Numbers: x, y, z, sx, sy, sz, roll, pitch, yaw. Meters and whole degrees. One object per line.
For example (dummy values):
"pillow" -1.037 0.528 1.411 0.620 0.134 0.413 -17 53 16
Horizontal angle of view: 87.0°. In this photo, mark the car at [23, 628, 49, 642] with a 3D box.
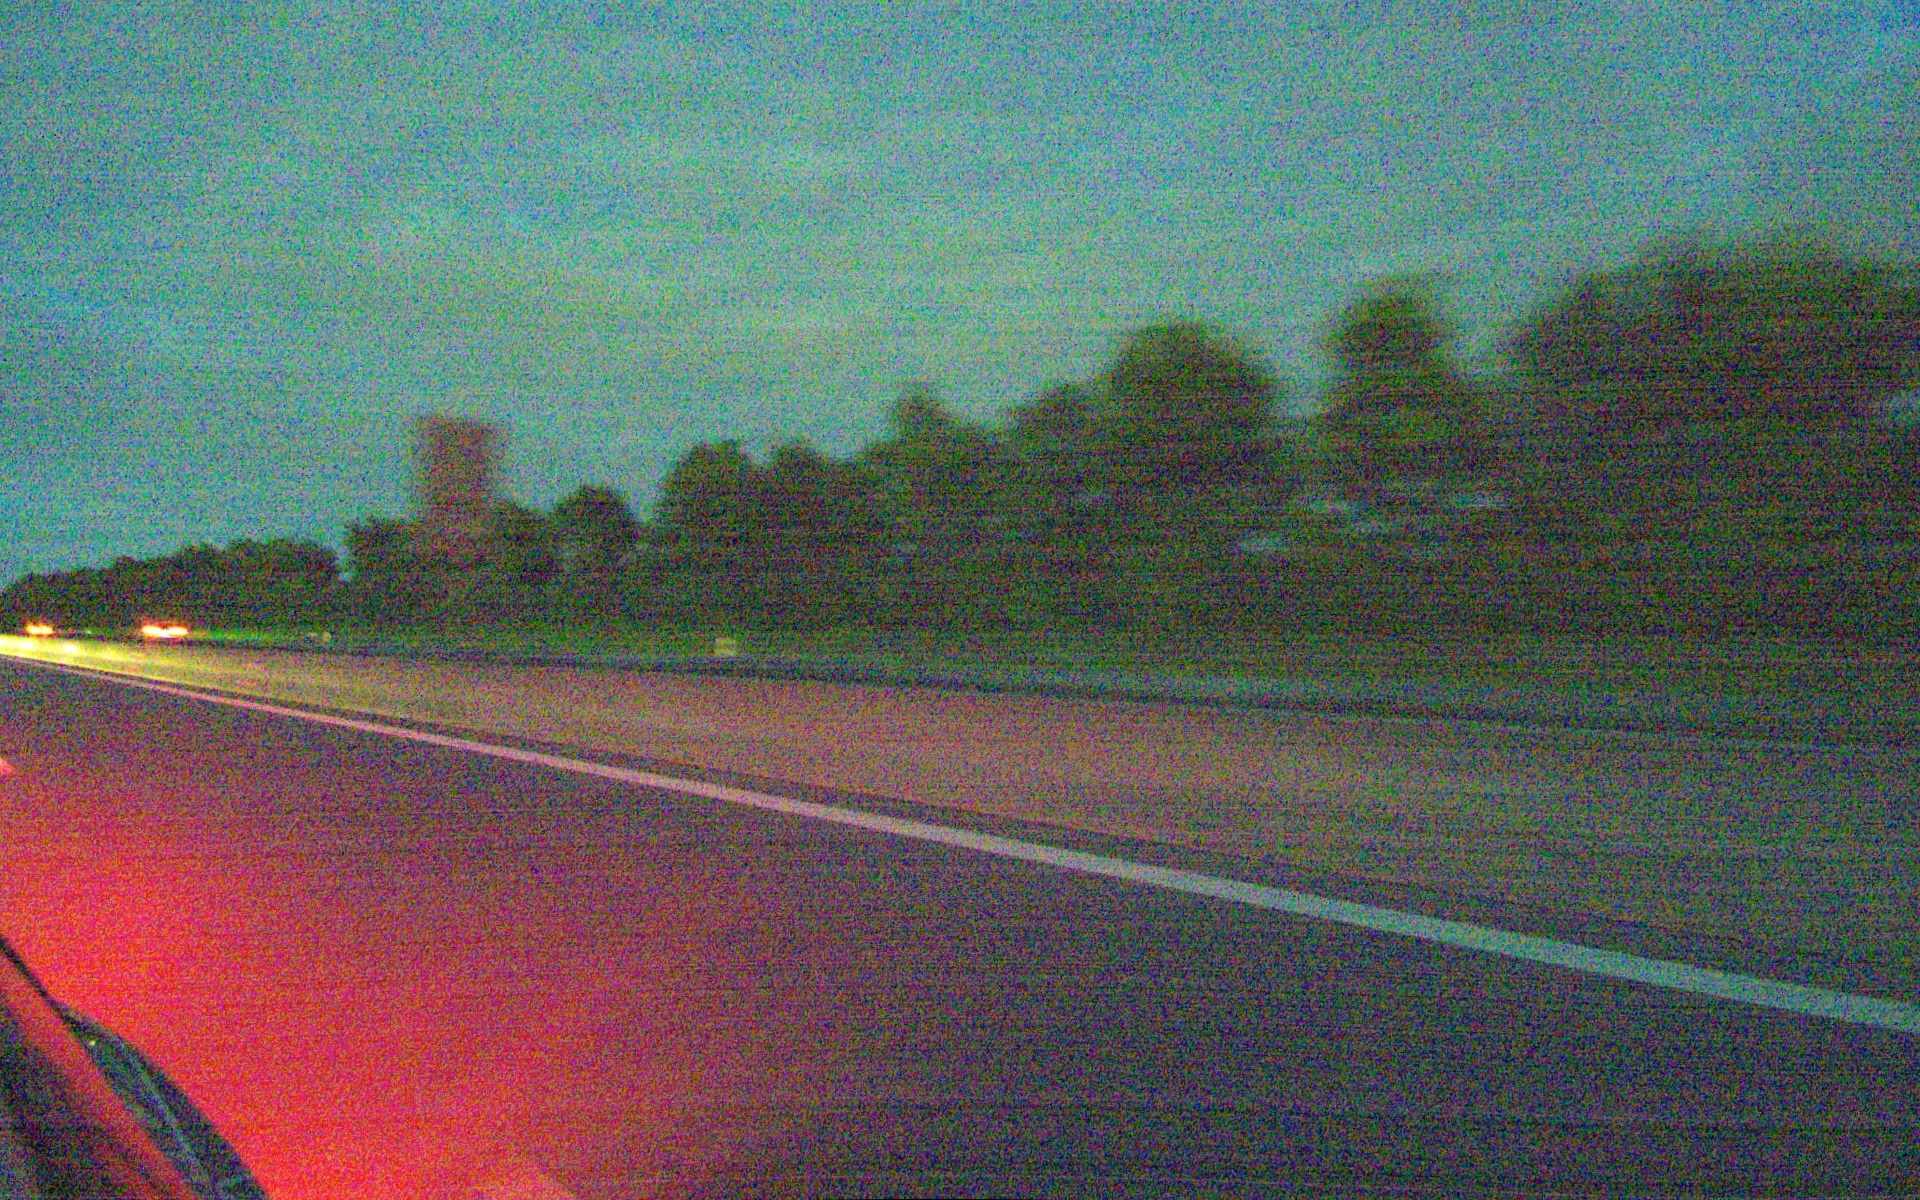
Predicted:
"car" -121.401 4.548 132.951 5.044 1.646 1.883 0 2 42

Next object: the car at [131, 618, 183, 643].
"car" -53.558 2.026 67.495 4.400 1.630 1.884 -1 -2 40
